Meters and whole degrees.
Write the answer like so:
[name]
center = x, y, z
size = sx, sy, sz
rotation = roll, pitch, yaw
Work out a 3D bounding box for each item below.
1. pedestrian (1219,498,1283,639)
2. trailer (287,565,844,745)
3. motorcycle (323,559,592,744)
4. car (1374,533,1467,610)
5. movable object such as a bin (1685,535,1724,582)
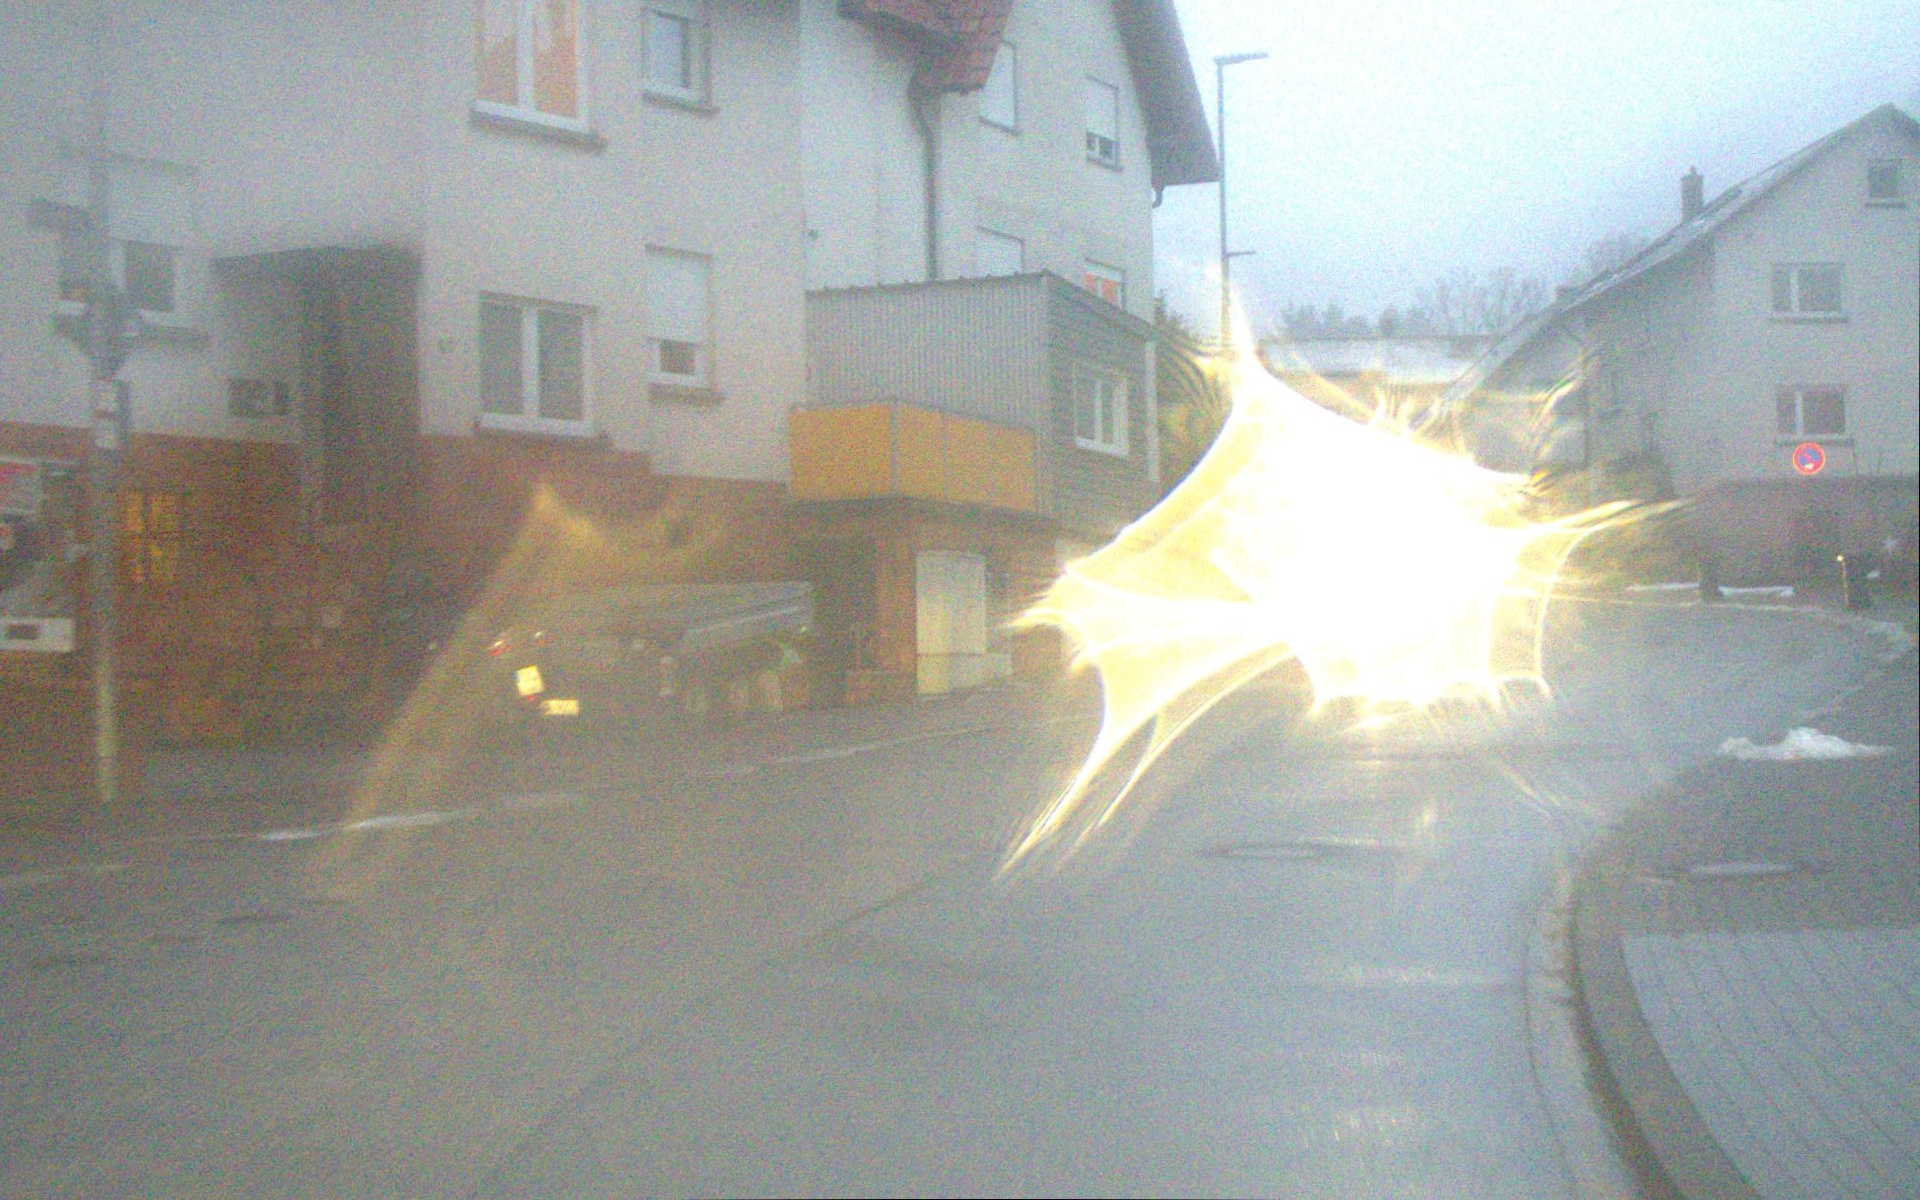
[pedestrian]
center = 3.602, -0.386, 42.494
size = 0.598, 1.727, 0.811
rotation = 0, 0, 19
[trailer]
center = -3.050, 0.374, 27.721
size = 2.061, 1.165, 4.861
rotation = 2, 3, 28
[motorcycle]
center = -3.766, 0.348, 25.607
size = 1.054, 1.294, 2.238
rotation = 0, 1, -36
[car]
center = 12.856, -0.827, 95.674
size = 2.111, 2.020, 4.980
rotation = -2, 1, 12
[movable object such as a bin]
center = 14.699, -0.816, 67.905
size = 0.637, 0.914, 0.685
rotation = -1, 1, 3
